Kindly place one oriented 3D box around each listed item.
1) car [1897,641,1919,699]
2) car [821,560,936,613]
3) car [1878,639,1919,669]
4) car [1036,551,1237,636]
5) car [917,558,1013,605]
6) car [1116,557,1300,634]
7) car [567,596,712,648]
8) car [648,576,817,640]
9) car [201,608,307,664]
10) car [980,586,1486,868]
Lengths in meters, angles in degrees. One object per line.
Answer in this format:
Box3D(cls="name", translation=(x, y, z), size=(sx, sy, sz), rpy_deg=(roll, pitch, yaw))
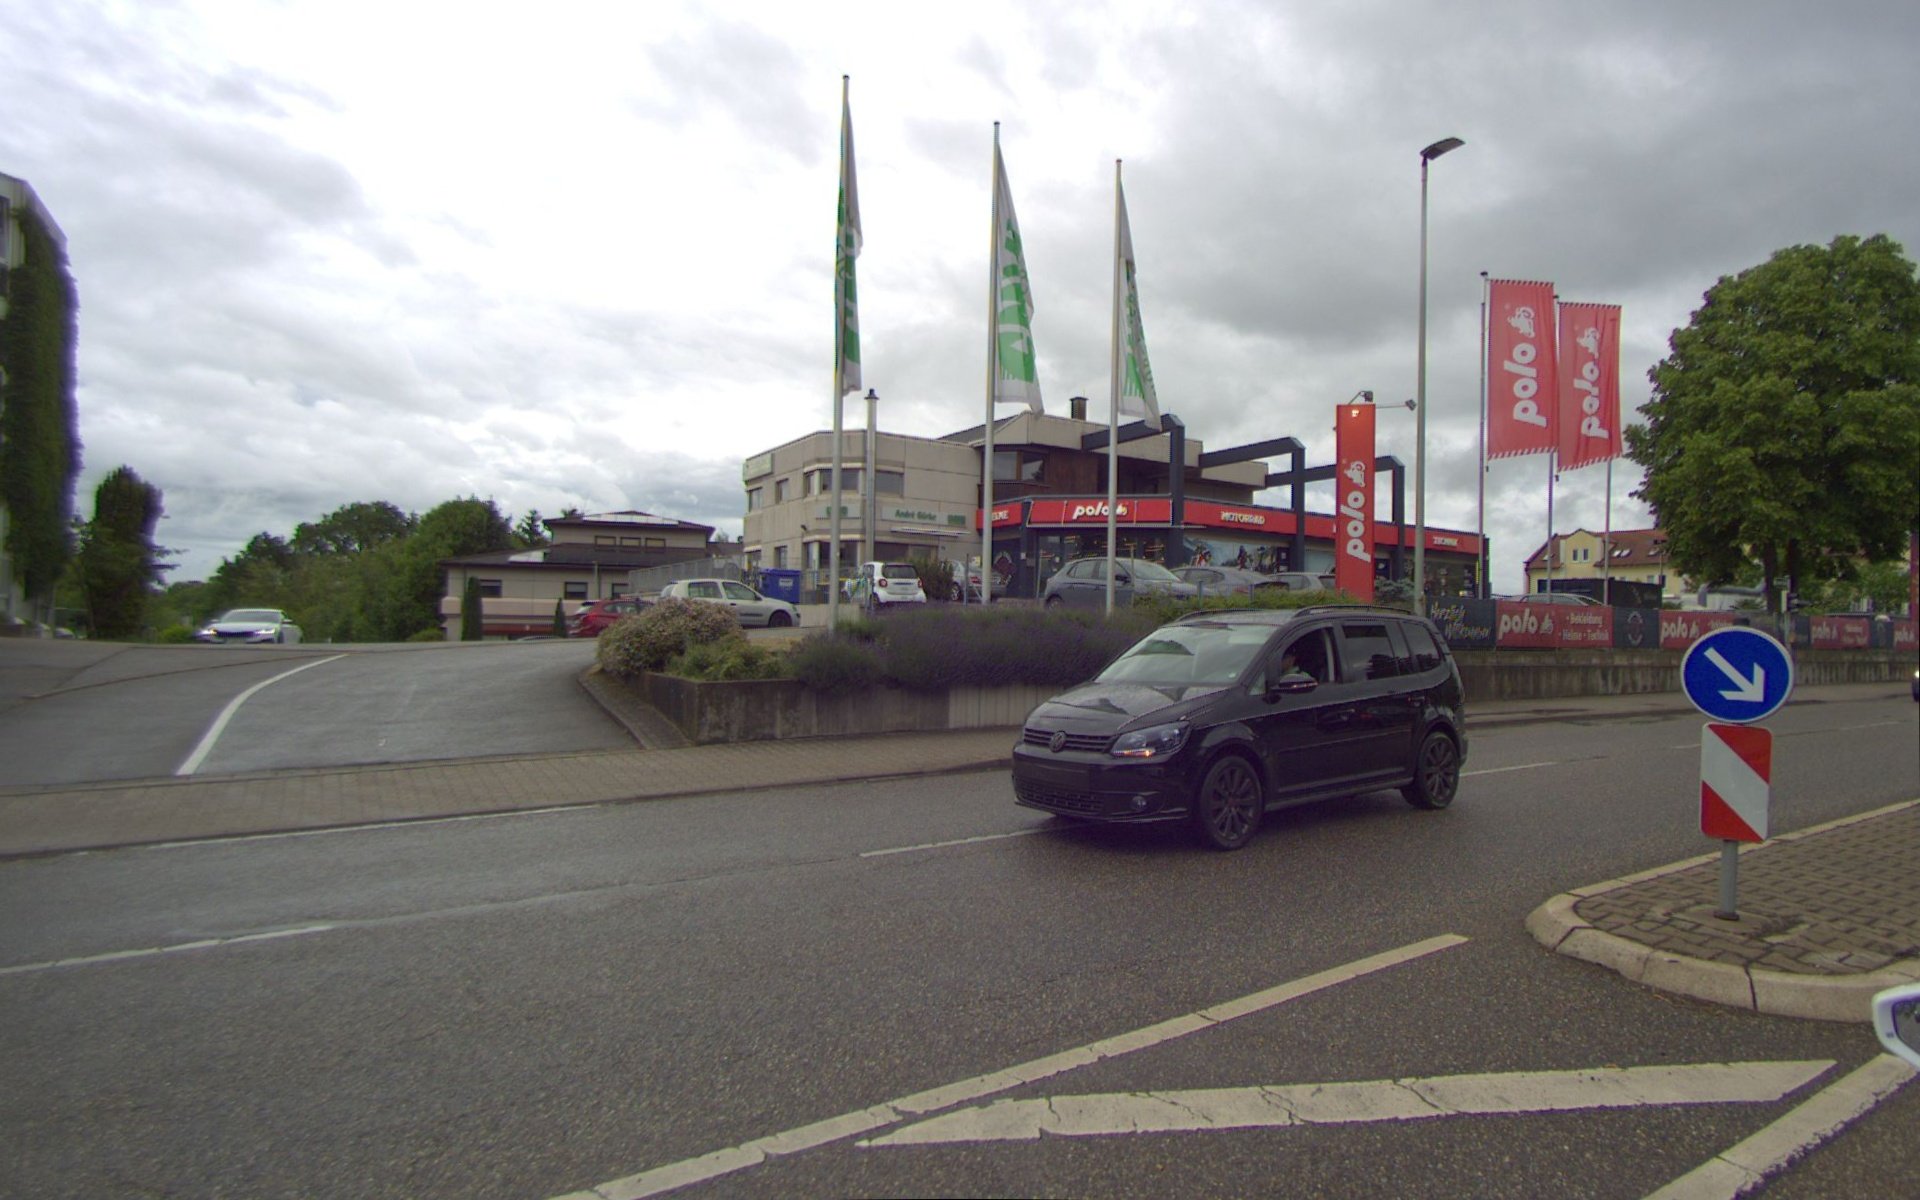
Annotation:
Box3D(cls="car", translation=(25.277, 1.724, 25.246), size=(3.723, 1.400, 1.626), rpy_deg=(1, -3, -32))
Box3D(cls="car", translation=(-2.554, -0.355, 30.650), size=(1.856, 1.502, 3.801), rpy_deg=(1, -1, -35))
Box3D(cls="car", translation=(49.437, 2.724, 50.815), size=(4.134, 1.475, 1.796), rpy_deg=(0, -2, 32))
Box3D(cls="car", translation=(3.404, -0.079, 19.935), size=(1.726, 1.502, 3.798), rpy_deg=(1, -1, -37))
Box3D(cls="car", translation=(0.122, -0.621, 36.100), size=(1.851, 1.532, 3.974), rpy_deg=(1, -1, -27))
Box3D(cls="car", translation=(5.277, -0.052, 21.746), size=(1.726, 1.502, 3.620), rpy_deg=(1, -1, -37))
Box3D(cls="car", translation=(-9.997, 0.709, 31.439), size=(4.015, 1.532, 1.663), rpy_deg=(1, -3, -36))
Box3D(cls="car", translation=(-5.823, 0.251, 25.854), size=(3.956, 1.532, 1.666), rpy_deg=(1, -3, -31))
Box3D(cls="car", translation=(-20.638, 1.018, 29.531), size=(1.849, 1.532, 3.978), rpy_deg=(1, -1, -25))
Box3D(cls="car", translation=(2.306, 0.840, 8.025), size=(4.109, 1.699, 1.744), rpy_deg=(1, -3, -37))
